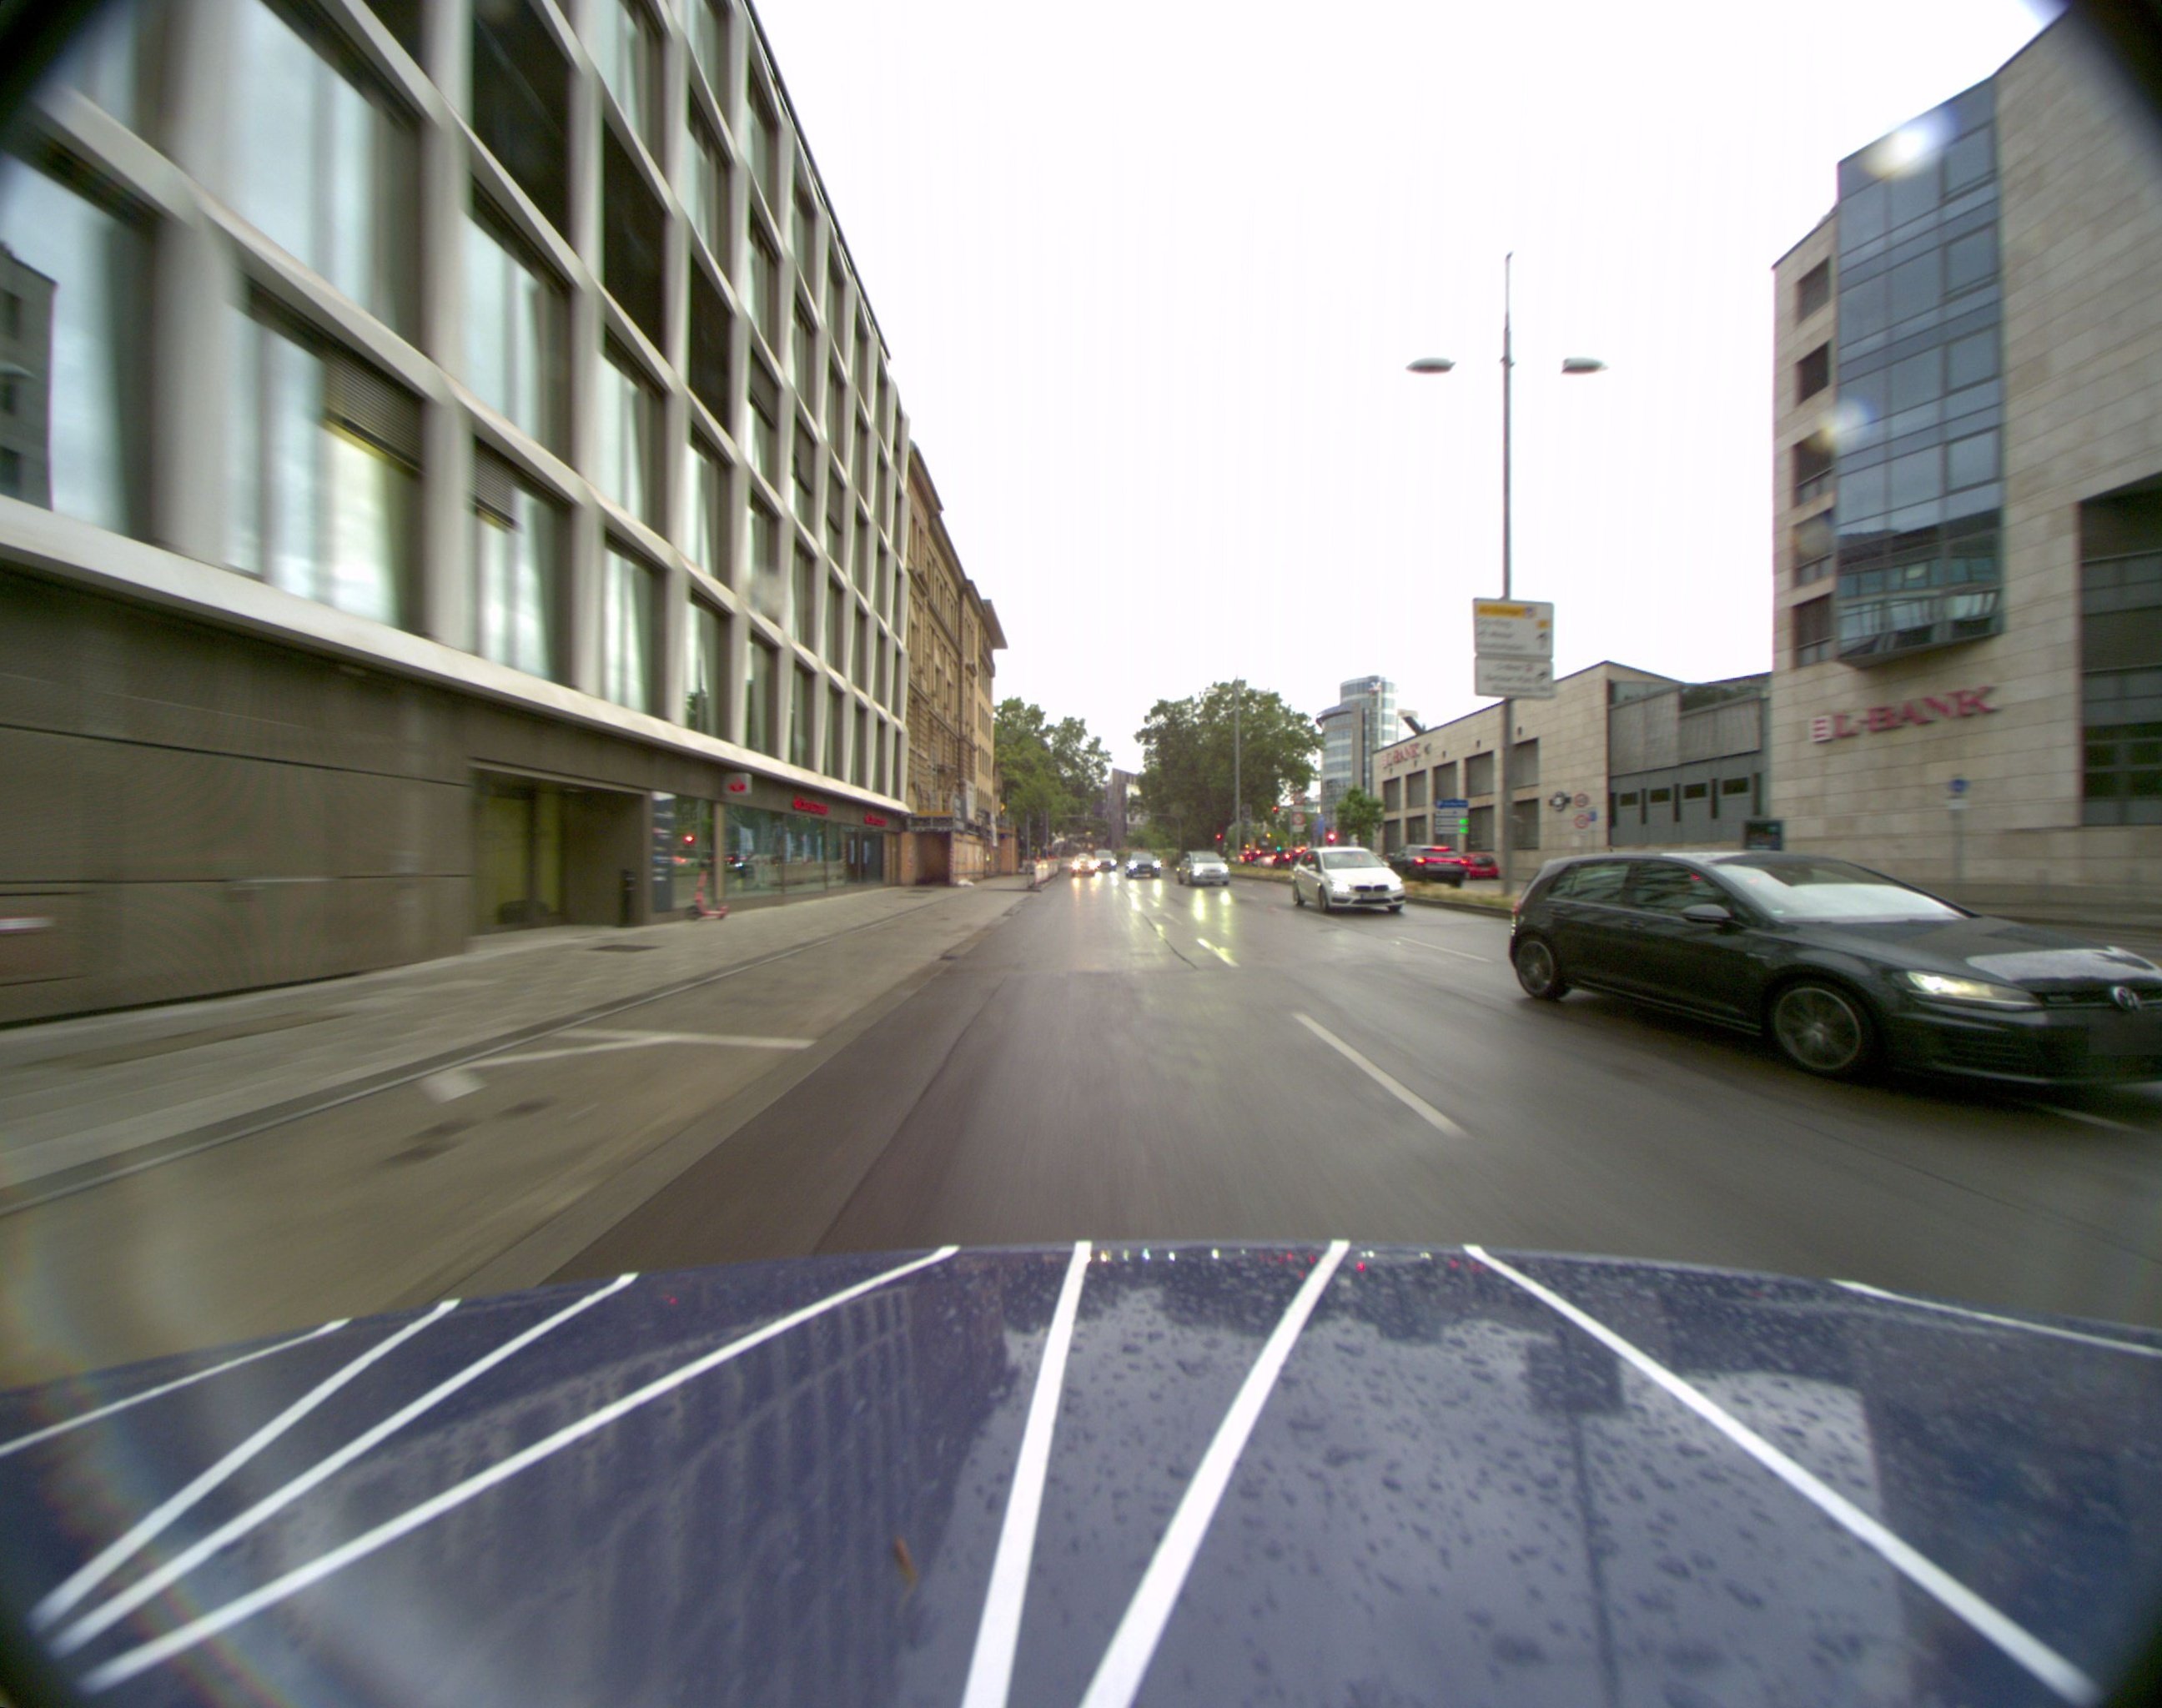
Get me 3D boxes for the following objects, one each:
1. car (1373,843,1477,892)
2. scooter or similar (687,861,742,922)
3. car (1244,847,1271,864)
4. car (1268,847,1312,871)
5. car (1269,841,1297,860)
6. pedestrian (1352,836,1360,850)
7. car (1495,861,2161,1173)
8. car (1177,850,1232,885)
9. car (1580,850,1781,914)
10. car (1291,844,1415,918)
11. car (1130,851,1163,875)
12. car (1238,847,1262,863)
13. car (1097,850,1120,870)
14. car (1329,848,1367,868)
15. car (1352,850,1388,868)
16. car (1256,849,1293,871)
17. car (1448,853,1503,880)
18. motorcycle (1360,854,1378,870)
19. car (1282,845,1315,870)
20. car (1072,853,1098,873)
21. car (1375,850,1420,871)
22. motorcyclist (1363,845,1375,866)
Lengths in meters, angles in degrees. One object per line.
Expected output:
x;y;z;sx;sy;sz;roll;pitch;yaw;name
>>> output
12.887;0.427;28.845;1.878;1.671;4.680;0;1;1;car
-7.751;0.776;16.109;0.412;1.229;1.190;-1;1;9;scooter or similar
15.120;0.148;65.314;1.751;1.357;3.944;0;1;6;car
13.535;0.290;49.391;1.704;1.429;4.581;0;1;1;car
18.855;-0.338;70.951;1.835;1.630;4.092;0;1;5;car
36.125;-1.446;99.766;0.589;1.913;1.125;-2;1;1;pedestrian
5.331;0.822;5.865;1.789;1.444;4.121;-1;1;-5;car
5.514;0.561;34.302;1.612;1.433;3.492;-2;1;-4;car
15.816;0.654;20.441;1.695;1.430;4.758;0;1;1;car
6.603;0.575;18.905;1.781;1.587;3.999;-1;1;2;car
3.980;0.521;46.632;1.717;1.433;3.493;1;1;-1;car
15.991;0.074;72.178;1.751;1.357;4.132;0;1;6;car
2.423;0.520;67.398;1.998;1.734;3.910;-1;1;2;car
21.418;0.283;61.169;1.730;1.524;4.640;0;1;4;car
24.037;0.381;63.297;1.751;1.407;4.294;0;1;6;car
14.584;0.411;57.502;1.864;1.434;4.313;3;2;4;car
22.463;0.703;43.402;1.595;1.407;3.401;0;1;5;car
21.205;0.580;55.954;0.550;1.124;2.033;-1;0;2;motorcycle
18.324;0.225;64.259;1.835;1.991;5.105;0;1;6;car
0.284;0.618;52.318;1.716;1.274;3.493;0;1;0;car
23.436;0.473;56.418;1.751;1.407;4.706;0;1;5;car
21.184;0.139;55.844;0.521;1.520;0.973;-1;0;2;motorcyclist
